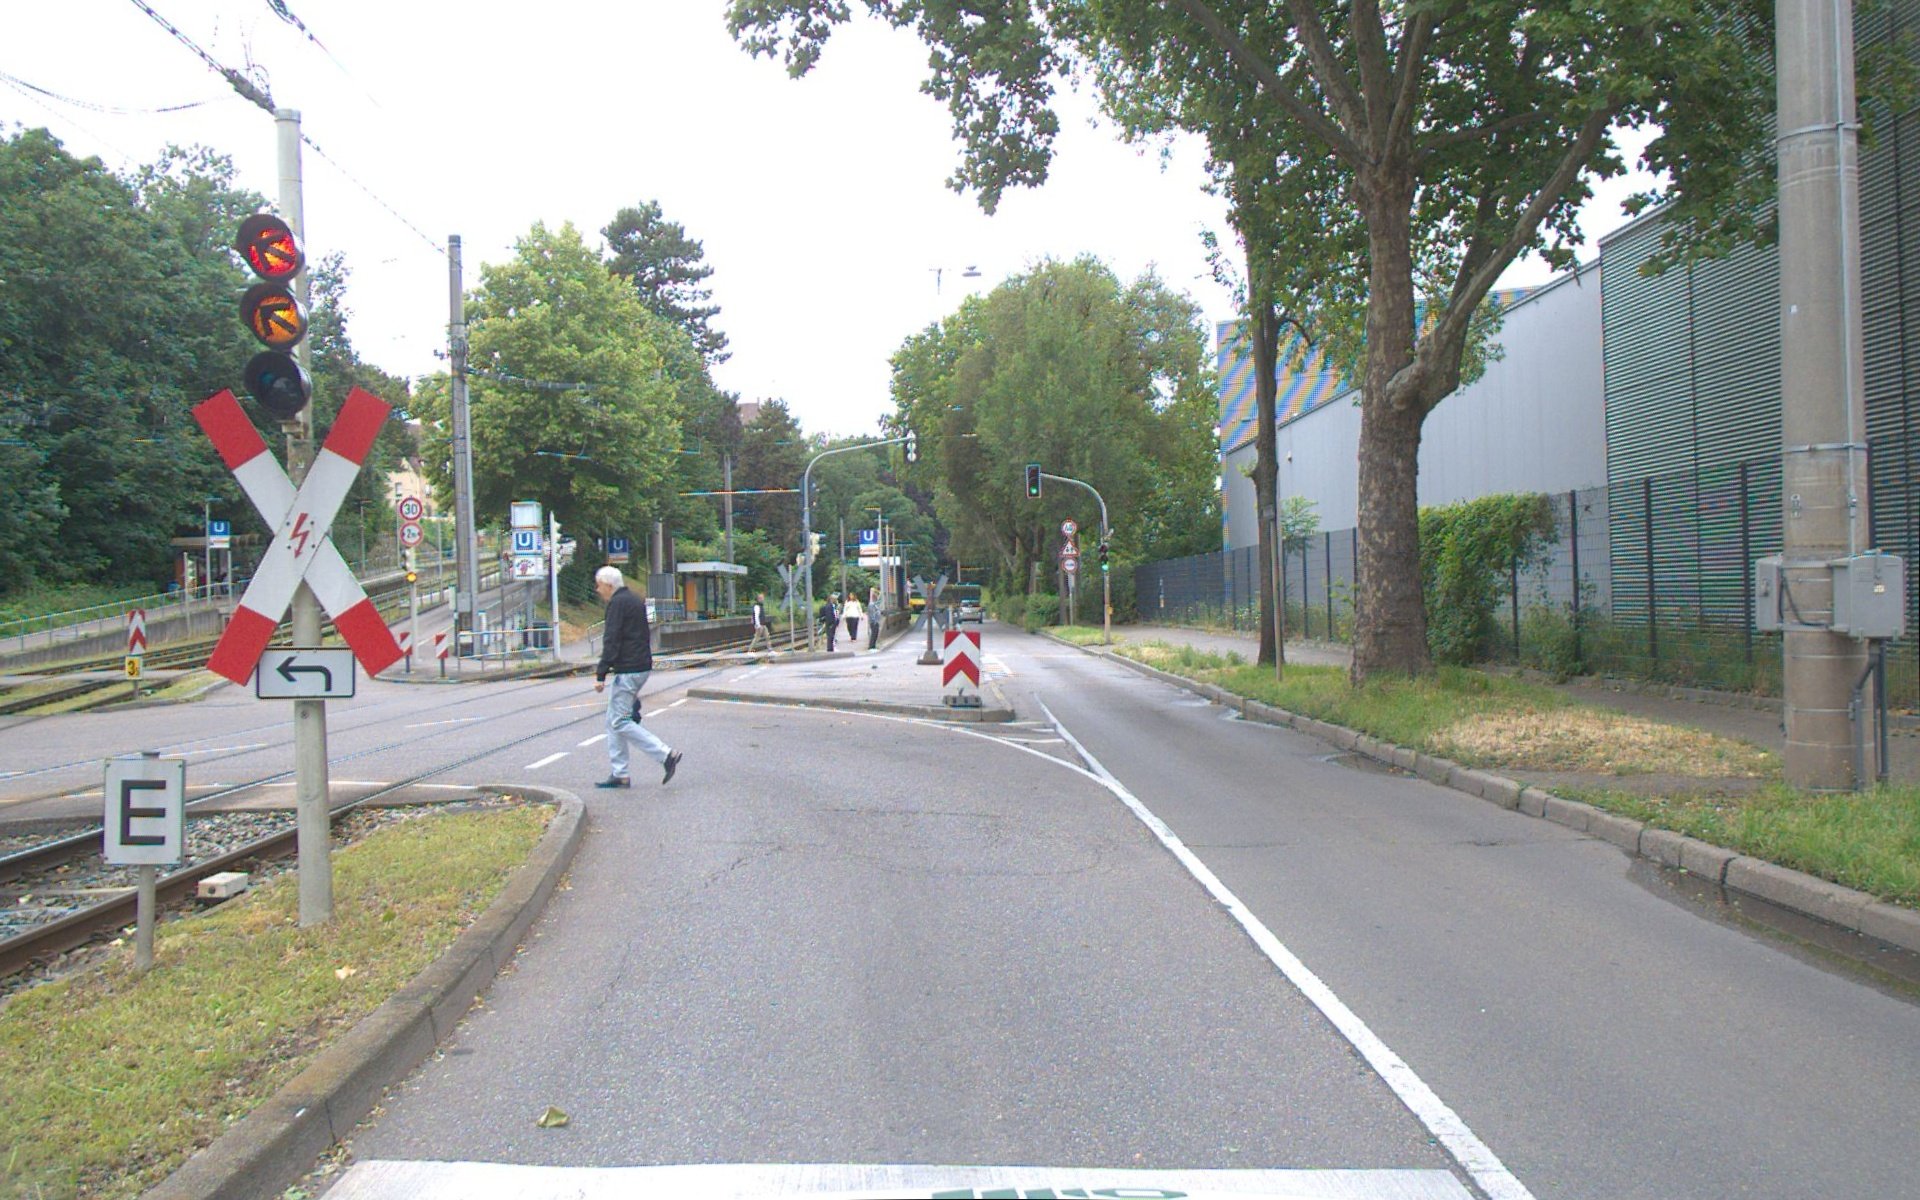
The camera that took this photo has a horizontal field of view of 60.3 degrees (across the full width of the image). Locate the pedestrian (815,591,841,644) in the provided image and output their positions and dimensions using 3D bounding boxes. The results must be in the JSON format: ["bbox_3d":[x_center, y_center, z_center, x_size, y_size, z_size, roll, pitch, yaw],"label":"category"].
[{"bbox_3d":[-4.258,0.555,53.283,0.722,1.694,0.680,1,-1,-11],"label":"pedestrian"}]

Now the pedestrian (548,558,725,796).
[{"bbox_3d":[-2.554,0.575,13.068,1.097,1.791,0.811,0,0,32],"label":"pedestrian"}]

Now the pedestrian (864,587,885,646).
[{"bbox_3d":[-2.626,0.505,50.741,0.538,1.789,0.738,1,-1,4],"label":"pedestrian"}]

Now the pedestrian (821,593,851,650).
[{"bbox_3d":[-3.706,0.636,49.400,0.665,1.694,0.738,1,-1,14],"label":"pedestrian"}]

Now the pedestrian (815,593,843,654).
[{"bbox_3d":[-3.717,0.671,46.949,0.720,1.694,0.682,1,-1,1],"label":"pedestrian"}]

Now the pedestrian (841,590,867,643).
[{"bbox_3d":[-3.462,0.543,53.975,0.722,1.694,0.680,1,-1,-11],"label":"pedestrian"}]

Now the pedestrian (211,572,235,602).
[{"bbox_3d":[-33.638,-0.600,75.492,0.757,1.349,0.785,1,-1,-9],"label":"pedestrian"}]

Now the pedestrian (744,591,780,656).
[{"bbox_3d":[-5.680,0.666,47.410,0.794,1.853,0.664,1,-1,-29],"label":"pedestrian"}]

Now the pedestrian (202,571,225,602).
[{"bbox_3d":[-33.552,-0.604,74.321,0.757,1.349,0.786,1,2,-9],"label":"pedestrian"}]

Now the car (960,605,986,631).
[{"bbox_3d":[0.915,1.260,118.015,1.708,1.626,4.000,1,2,-1],"label":"car"}]

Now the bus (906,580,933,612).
[{"bbox_3d":[-4.732,-0.438,195.308,2.678,3.689,8.943,1,0,1],"label":"bus"}]
